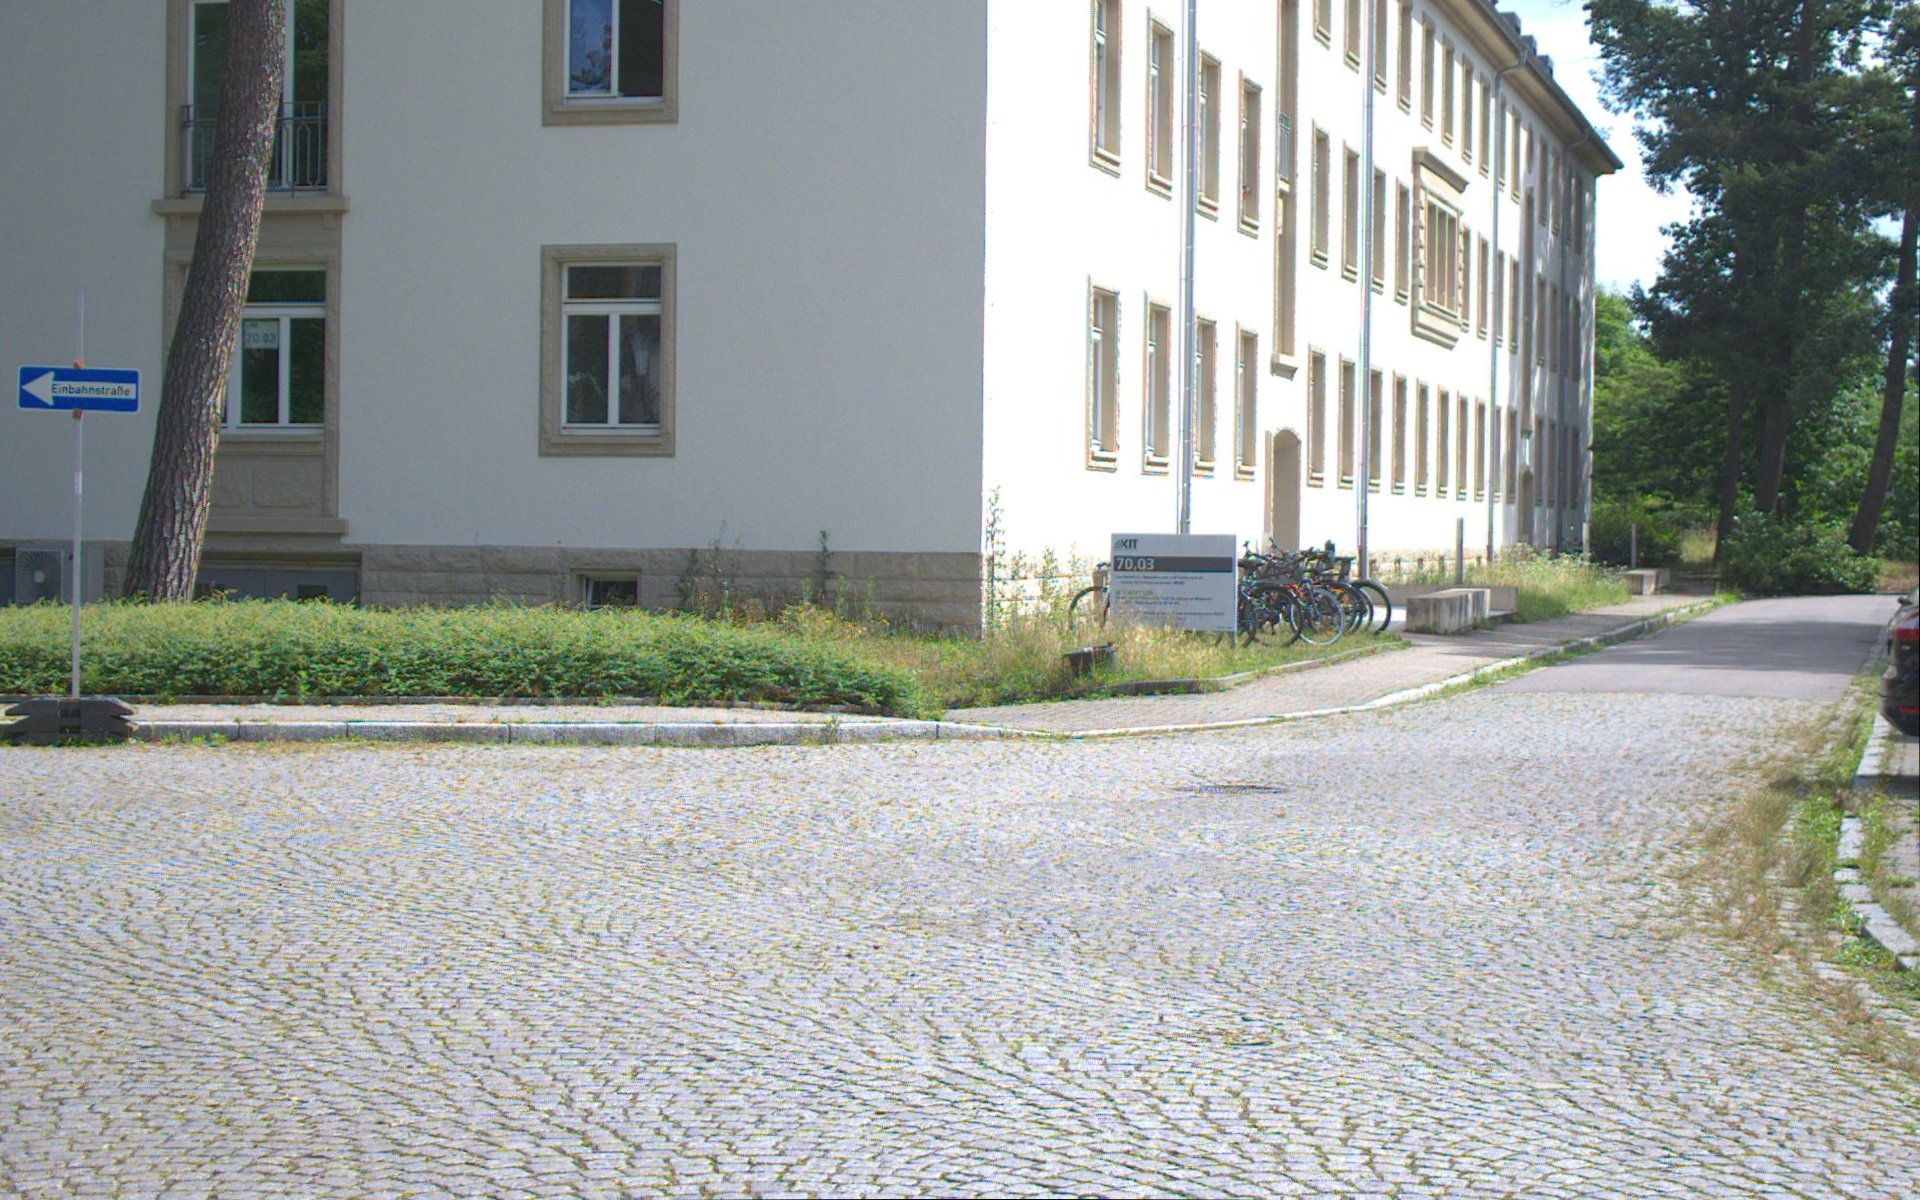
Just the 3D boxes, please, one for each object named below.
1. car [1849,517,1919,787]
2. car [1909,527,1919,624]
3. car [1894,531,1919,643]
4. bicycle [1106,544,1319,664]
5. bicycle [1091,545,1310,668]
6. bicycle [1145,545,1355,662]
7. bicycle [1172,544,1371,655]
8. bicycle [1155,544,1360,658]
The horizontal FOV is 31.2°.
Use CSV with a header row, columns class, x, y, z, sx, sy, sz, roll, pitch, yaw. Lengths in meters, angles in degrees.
class,x,y,z,sx,sy,sz,roll,pitch,yaw
car,7.716,0.277,20.099,4.856,1.547,1.879,0,0,14
car,16.746,-0.390,52.693,4.190,1.479,1.818,0,0,17
car,15.045,-0.194,47.269,4.190,1.538,1.818,0,0,17
bicycle,2.742,0.034,37.345,2.224,1.256,0.622,1,1,18
bicycle,2.553,0.055,36.506,2.224,1.256,0.622,1,1,22
bicycle,3.212,0.027,38.126,2.224,1.256,0.622,1,1,22
bicycle,3.624,-0.013,40.005,2.224,1.256,0.622,1,1,18
bicycle,3.376,0.005,39.027,2.224,1.256,0.622,1,1,18
